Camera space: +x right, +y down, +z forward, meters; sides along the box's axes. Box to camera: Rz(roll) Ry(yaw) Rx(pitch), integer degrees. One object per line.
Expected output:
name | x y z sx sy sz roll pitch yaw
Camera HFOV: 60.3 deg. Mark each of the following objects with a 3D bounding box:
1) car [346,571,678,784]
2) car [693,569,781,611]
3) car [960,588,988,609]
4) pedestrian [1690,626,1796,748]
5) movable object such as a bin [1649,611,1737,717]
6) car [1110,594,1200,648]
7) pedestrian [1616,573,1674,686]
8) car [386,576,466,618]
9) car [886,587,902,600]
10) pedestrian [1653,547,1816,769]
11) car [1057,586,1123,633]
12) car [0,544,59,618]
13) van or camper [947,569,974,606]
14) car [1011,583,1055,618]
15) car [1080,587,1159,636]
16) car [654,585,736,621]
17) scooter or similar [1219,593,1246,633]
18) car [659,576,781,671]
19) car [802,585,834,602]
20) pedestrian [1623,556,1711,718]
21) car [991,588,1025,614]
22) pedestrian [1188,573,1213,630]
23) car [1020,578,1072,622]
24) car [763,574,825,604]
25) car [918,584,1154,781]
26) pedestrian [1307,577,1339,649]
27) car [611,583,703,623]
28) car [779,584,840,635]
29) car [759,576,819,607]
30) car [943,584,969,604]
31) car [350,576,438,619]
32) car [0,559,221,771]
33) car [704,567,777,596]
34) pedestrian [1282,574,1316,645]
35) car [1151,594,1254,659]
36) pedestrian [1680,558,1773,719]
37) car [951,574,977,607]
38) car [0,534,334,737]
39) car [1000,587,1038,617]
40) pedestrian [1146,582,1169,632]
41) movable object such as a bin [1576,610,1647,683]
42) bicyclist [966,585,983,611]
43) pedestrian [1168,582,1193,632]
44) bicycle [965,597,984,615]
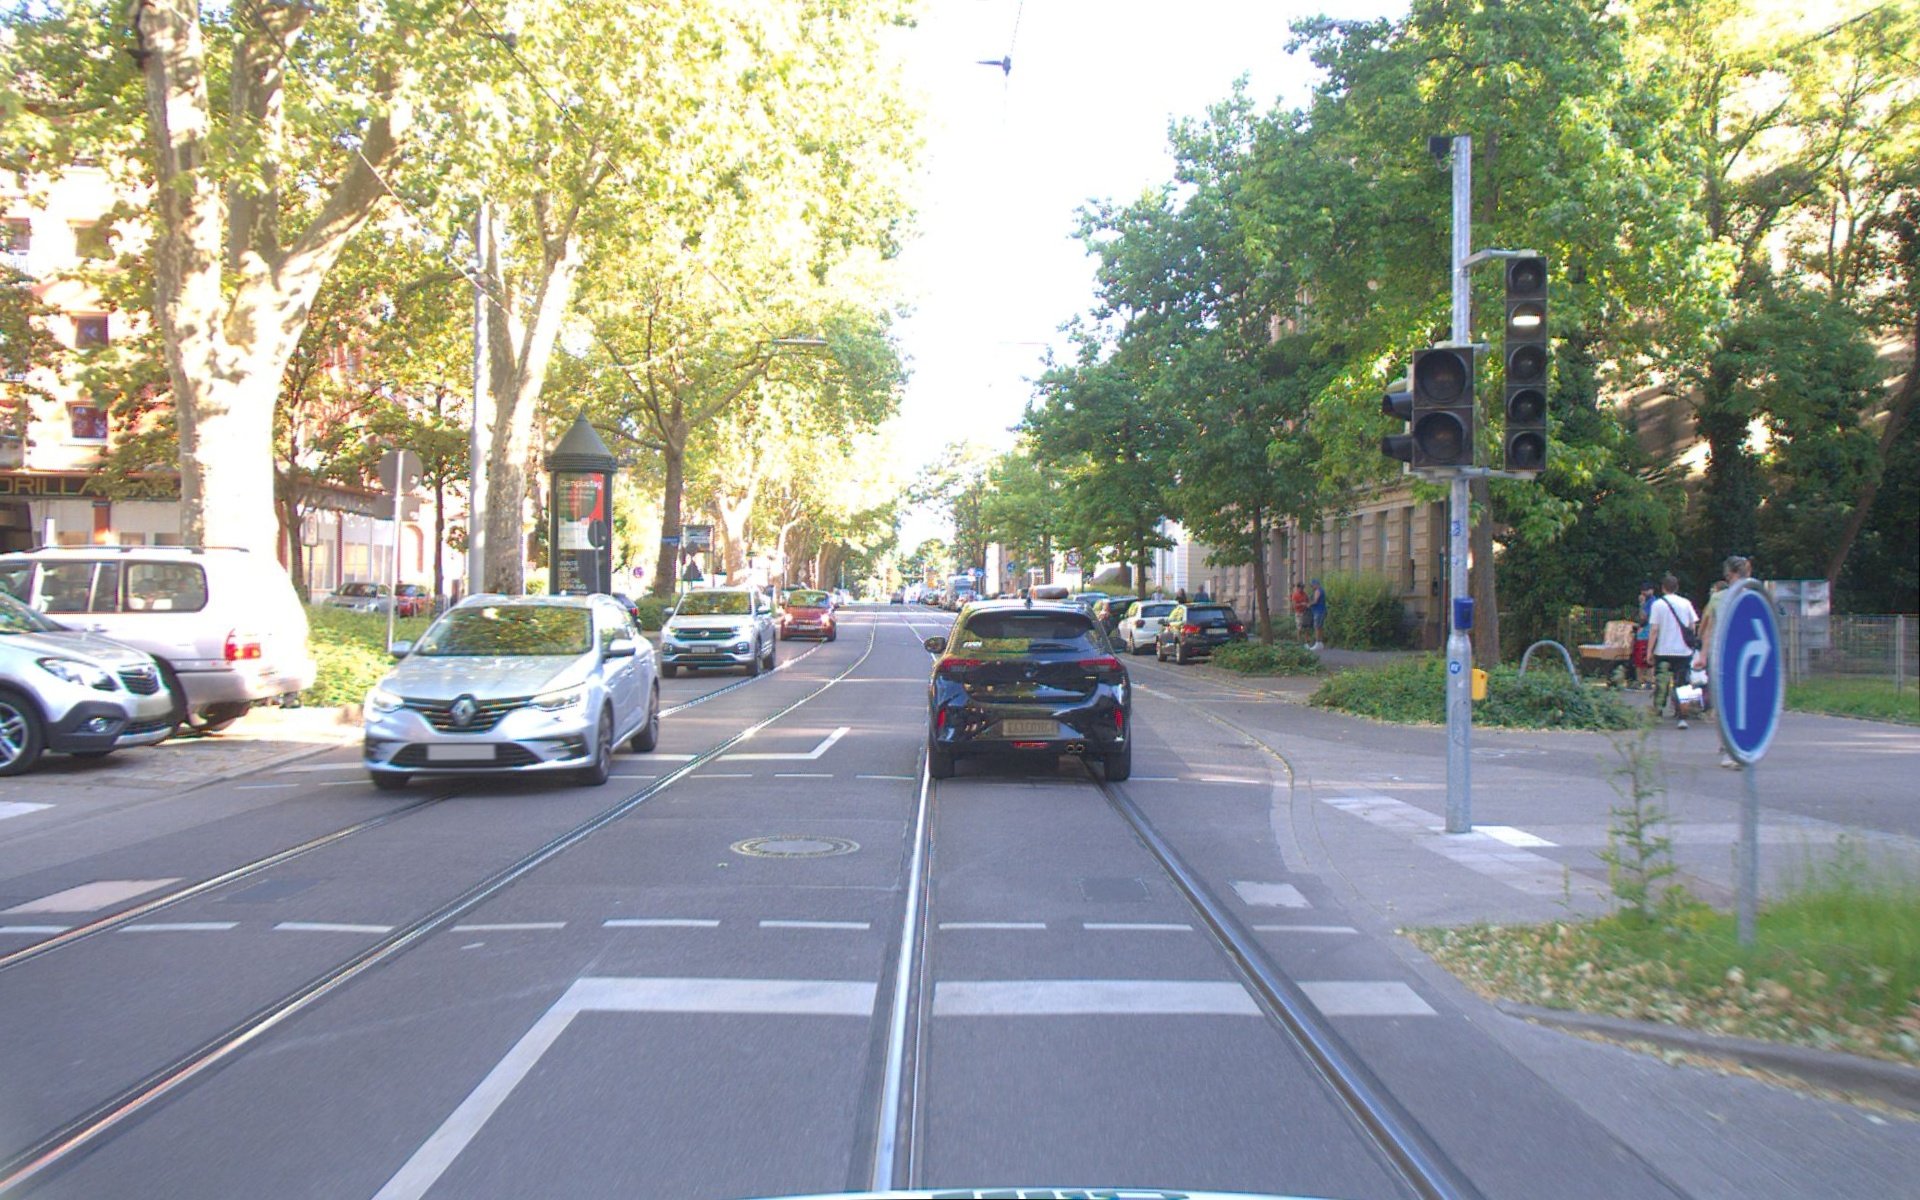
car | -3.555 0.551 13.921 1.739 1.486 4.202 1 0 -2
car | -12.919 -0.556 96.076 4.936 2.299 2.083 1 0 -6
car | 1.055 -0.134 125.892 1.846 1.459 4.528 -2 0 -3
pedestrian | 7.633 0.837 16.135 0.665 1.138 0.655 1 0 -22
movable object such as a bin | 8.947 0.760 20.225 0.625 1.223 1.306 -1 0 8
car | 5.442 0.566 46.677 1.846 1.391 4.105 -2 0 -3
pedestrian | 10.838 0.461 26.170 0.608 1.756 0.551 1 0 -18
car | -20.523 -0.115 63.713 1.908 1.513 3.998 1 0 -2
car | -9.262 -0.906 231.801 2.209 1.873 5.527 -1 0 -4
pedestrian | 6.965 0.505 14.908 0.854 1.918 0.992 1 0 -20
car | 4.733 0.323 60.617 1.846 1.595 4.240 -2 0 -3
car | -27.701 -0.562 47.348 1.958 2.038 4.906 1 0 -12
van or camper | 0.014 -1.157 149.802 2.209 3.272 5.528 -1 0 -3
car | 3.736 0.019 85.329 1.848 1.797 4.675 0 0 -3
car | 5.344 0.365 55.886 1.847 1.492 4.590 -2 0 -4
car | -11.782 0.119 73.801 3.350 1.490 1.759 1 0 -1
scooter or similar | 8.715 0.403 52.942 0.564 1.268 1.334 1 0 -2
car | -4.341 0.393 30.435 1.779 1.596 4.114 -1 0 -2
car | -18.675 -0.836 217.273 3.903 2.049 2.001 1 0 4
pedestrian | 8.219 0.421 19.254 0.710 1.824 0.854 -1 0 8
car | 2.871 0.047 99.942 1.669 1.448 3.976 -3 0 -3
pedestrian | 7.818 0.058 53.886 0.711 1.824 0.601 1 0 2
car | 3.908 -0.010 76.220 1.846 1.883 4.964 -2 0 -3
car | -15.478 -1.008 154.550 5.522 2.638 2.196 1 0 1
car | 0.543 0.633 14.751 1.728 1.486 3.948 1 0 -3
pedestrian | 9.352 0.338 42.657 0.587 1.824 0.727 1 0 -5
car | -12.117 0.115 66.304 3.350 1.490 1.697 1 0 -1
car | -4.514 0.277 50.017 1.627 1.469 3.472 -1 0 -2
car | -14.657 -0.711 141.867 4.936 2.415 2.080 -3 0 -3
car | -0.420 -0.558 156.984 2.209 1.873 5.528 -1 0 -3
car | -20.239 -0.097 59.319 1.909 1.432 3.891 1 0 -2
car | -8.749 0.482 14.040 4.058 1.675 1.901 1 0 -4
car | -13.170 -1.090 99.293 4.216 1.635 1.924 1 0 -6
pedestrian | 8.907 0.251 43.469 0.711 1.824 0.600 1 0 -2
car | 5.821 0.596 40.032 1.640 1.437 3.839 -2 0 -4
pedestrian | 8.975 0.439 19.395 0.710 1.824 0.969 -1 0 8
car | 0.343 -0.852 143.249 2.043 2.820 4.695 -1 1 -3
car | -8.879 0.315 16.538 4.481 1.866 1.937 1 0 -4
car | 3.231 0.111 91.259 1.678 1.540 4.033 -2 0 -4
pedestrian | 6.970 0.252 58.417 0.711 1.722 0.957 1 0 1
movable object such as a bin | 10.559 0.745 26.826 0.653 1.146 0.954 1 0 -10
bicyclist | 0.881 -0.118 100.028 0.939 1.525 1.093 1 0 -4
pedestrian | 7.794 0.248 58.513 0.711 1.739 0.856 1 0 0
bicycle | 0.876 0.365 100.042 0.949 1.016 2.581 1 0 -4
